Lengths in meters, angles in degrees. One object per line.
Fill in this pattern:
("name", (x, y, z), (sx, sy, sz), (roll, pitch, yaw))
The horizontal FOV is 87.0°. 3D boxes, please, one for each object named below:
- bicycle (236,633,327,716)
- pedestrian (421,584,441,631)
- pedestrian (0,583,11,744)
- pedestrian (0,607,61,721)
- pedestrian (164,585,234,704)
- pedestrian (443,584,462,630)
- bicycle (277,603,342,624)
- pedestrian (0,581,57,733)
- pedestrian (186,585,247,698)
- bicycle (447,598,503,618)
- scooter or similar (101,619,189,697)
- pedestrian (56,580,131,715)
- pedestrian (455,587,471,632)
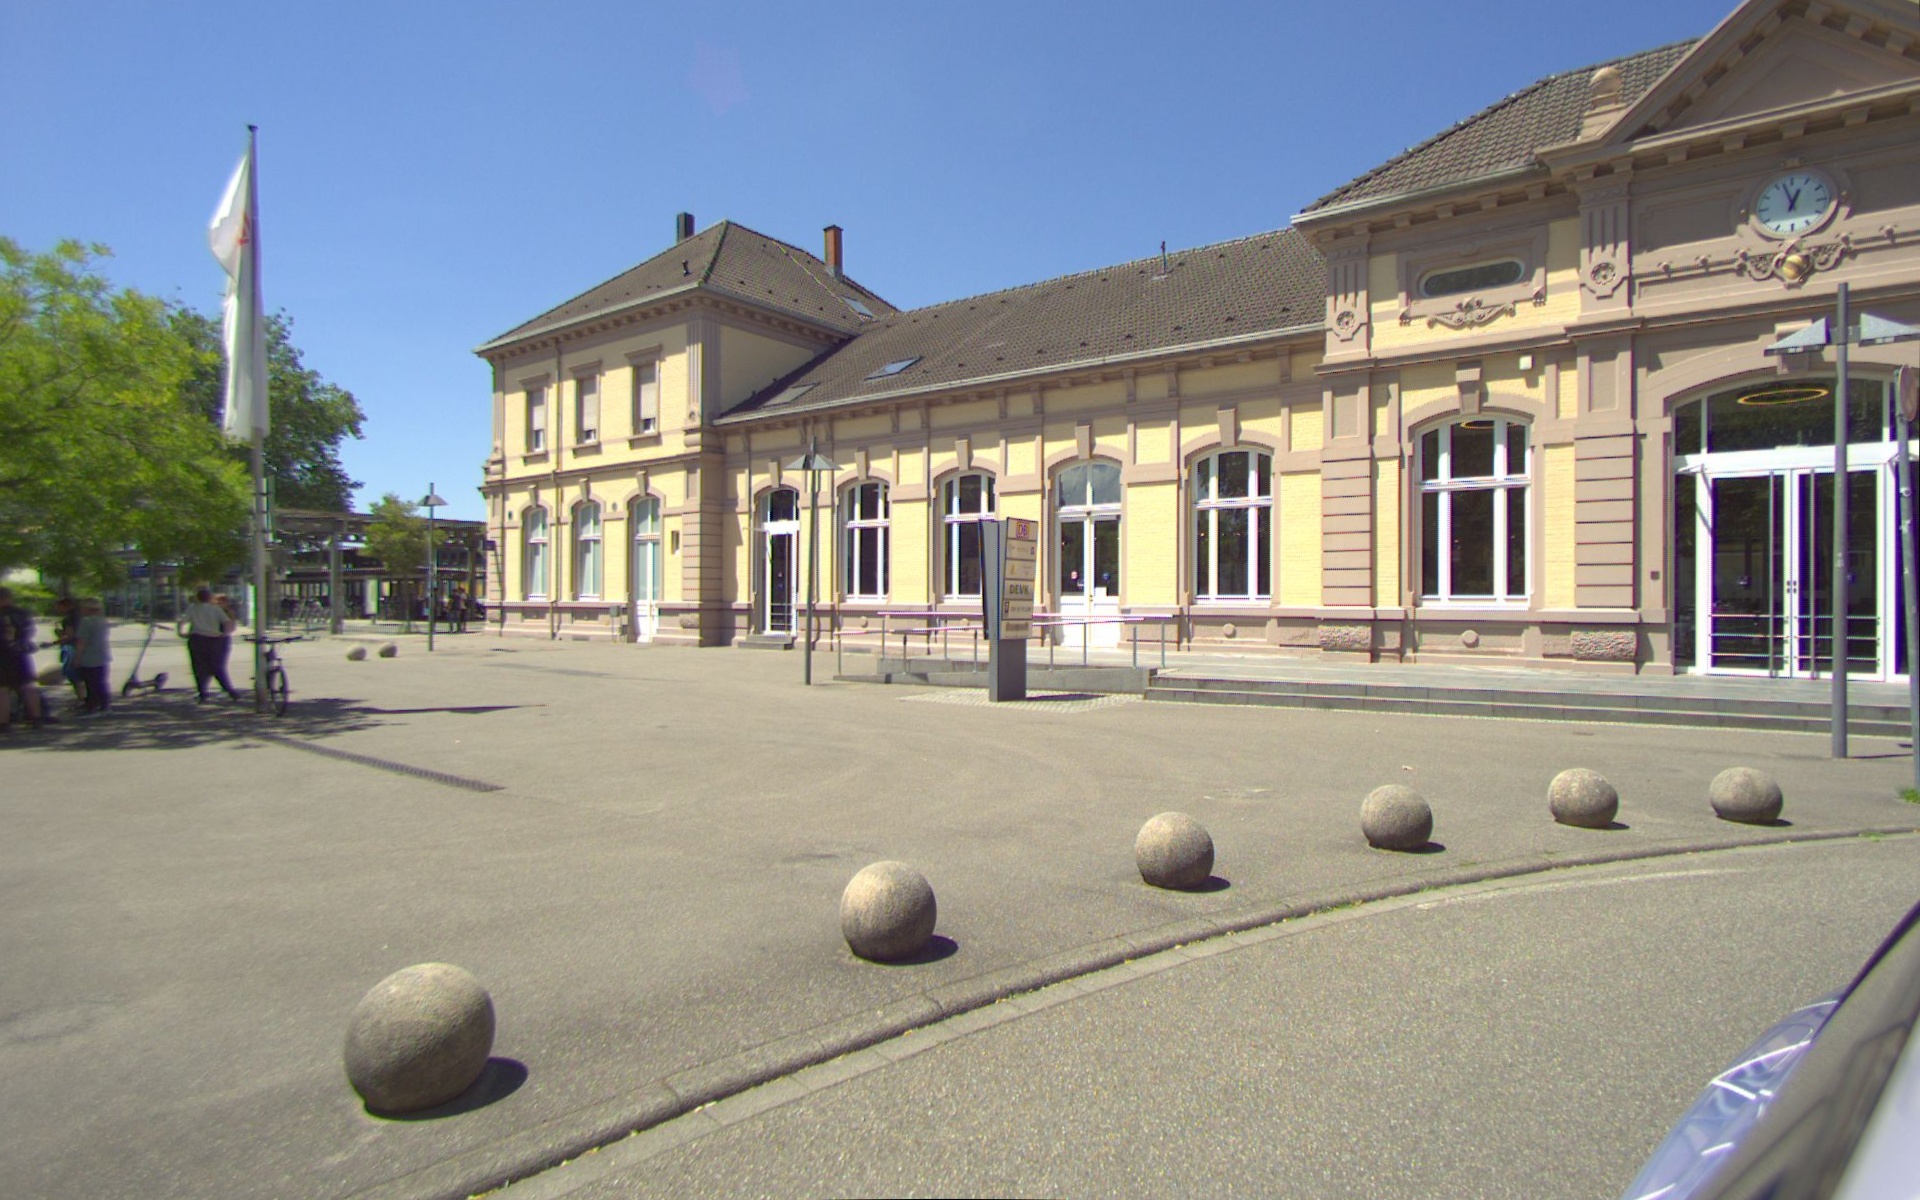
("bicycle", (-9.584, 1.022, 14.269), (1.936, 1.074, 0.416), (0, -1, 36))
("pedestrian", (-21.132, 0.291, 40.420), (0.676, 1.832, 0.632), (0, -1, -31))
("pedestrian", (-10.762, 0.690, 10.868), (0.539, 1.762, 0.625), (0, -1, 12))
("pedestrian", (-12.299, 0.799, 12.865), (0.928, 1.404, 0.911), (0, -1, 8))
("pedestrian", (-11.217, 0.643, 14.924), (0.585, 1.706, 0.614), (0, -1, 25))
("pedestrian", (-20.319, 0.282, 40.532), (0.619, 1.832, 0.596), (1, -1, -32))
("bicycle", (-34.295, 0.722, 53.414), (0.806, 1.017, 2.760), (-1, -3, 35))
("pedestrian", (-11.340, 0.663, 12.094), (0.590, 1.762, 0.583), (0, -1, 12))
("pedestrian", (-11.528, 0.628, 15.699), (0.581, 1.706, 0.550), (0, -1, 25))
("bicycle", (-27.723, 0.481, 57.901), (0.960, 1.017, 2.760), (-1, -3, 35))
("scooter or similar", (-12.614, 0.885, 15.682), (0.292, 1.154, 1.017), (-1, -1, 29))
("pedestrian", (-11.571, 0.619, 13.522), (0.561, 1.762, 0.511), (0, -1, 8))
("pedestrian", (-20.283, 0.382, 41.281), (0.540, 1.832, 0.498), (1, -1, -32))
